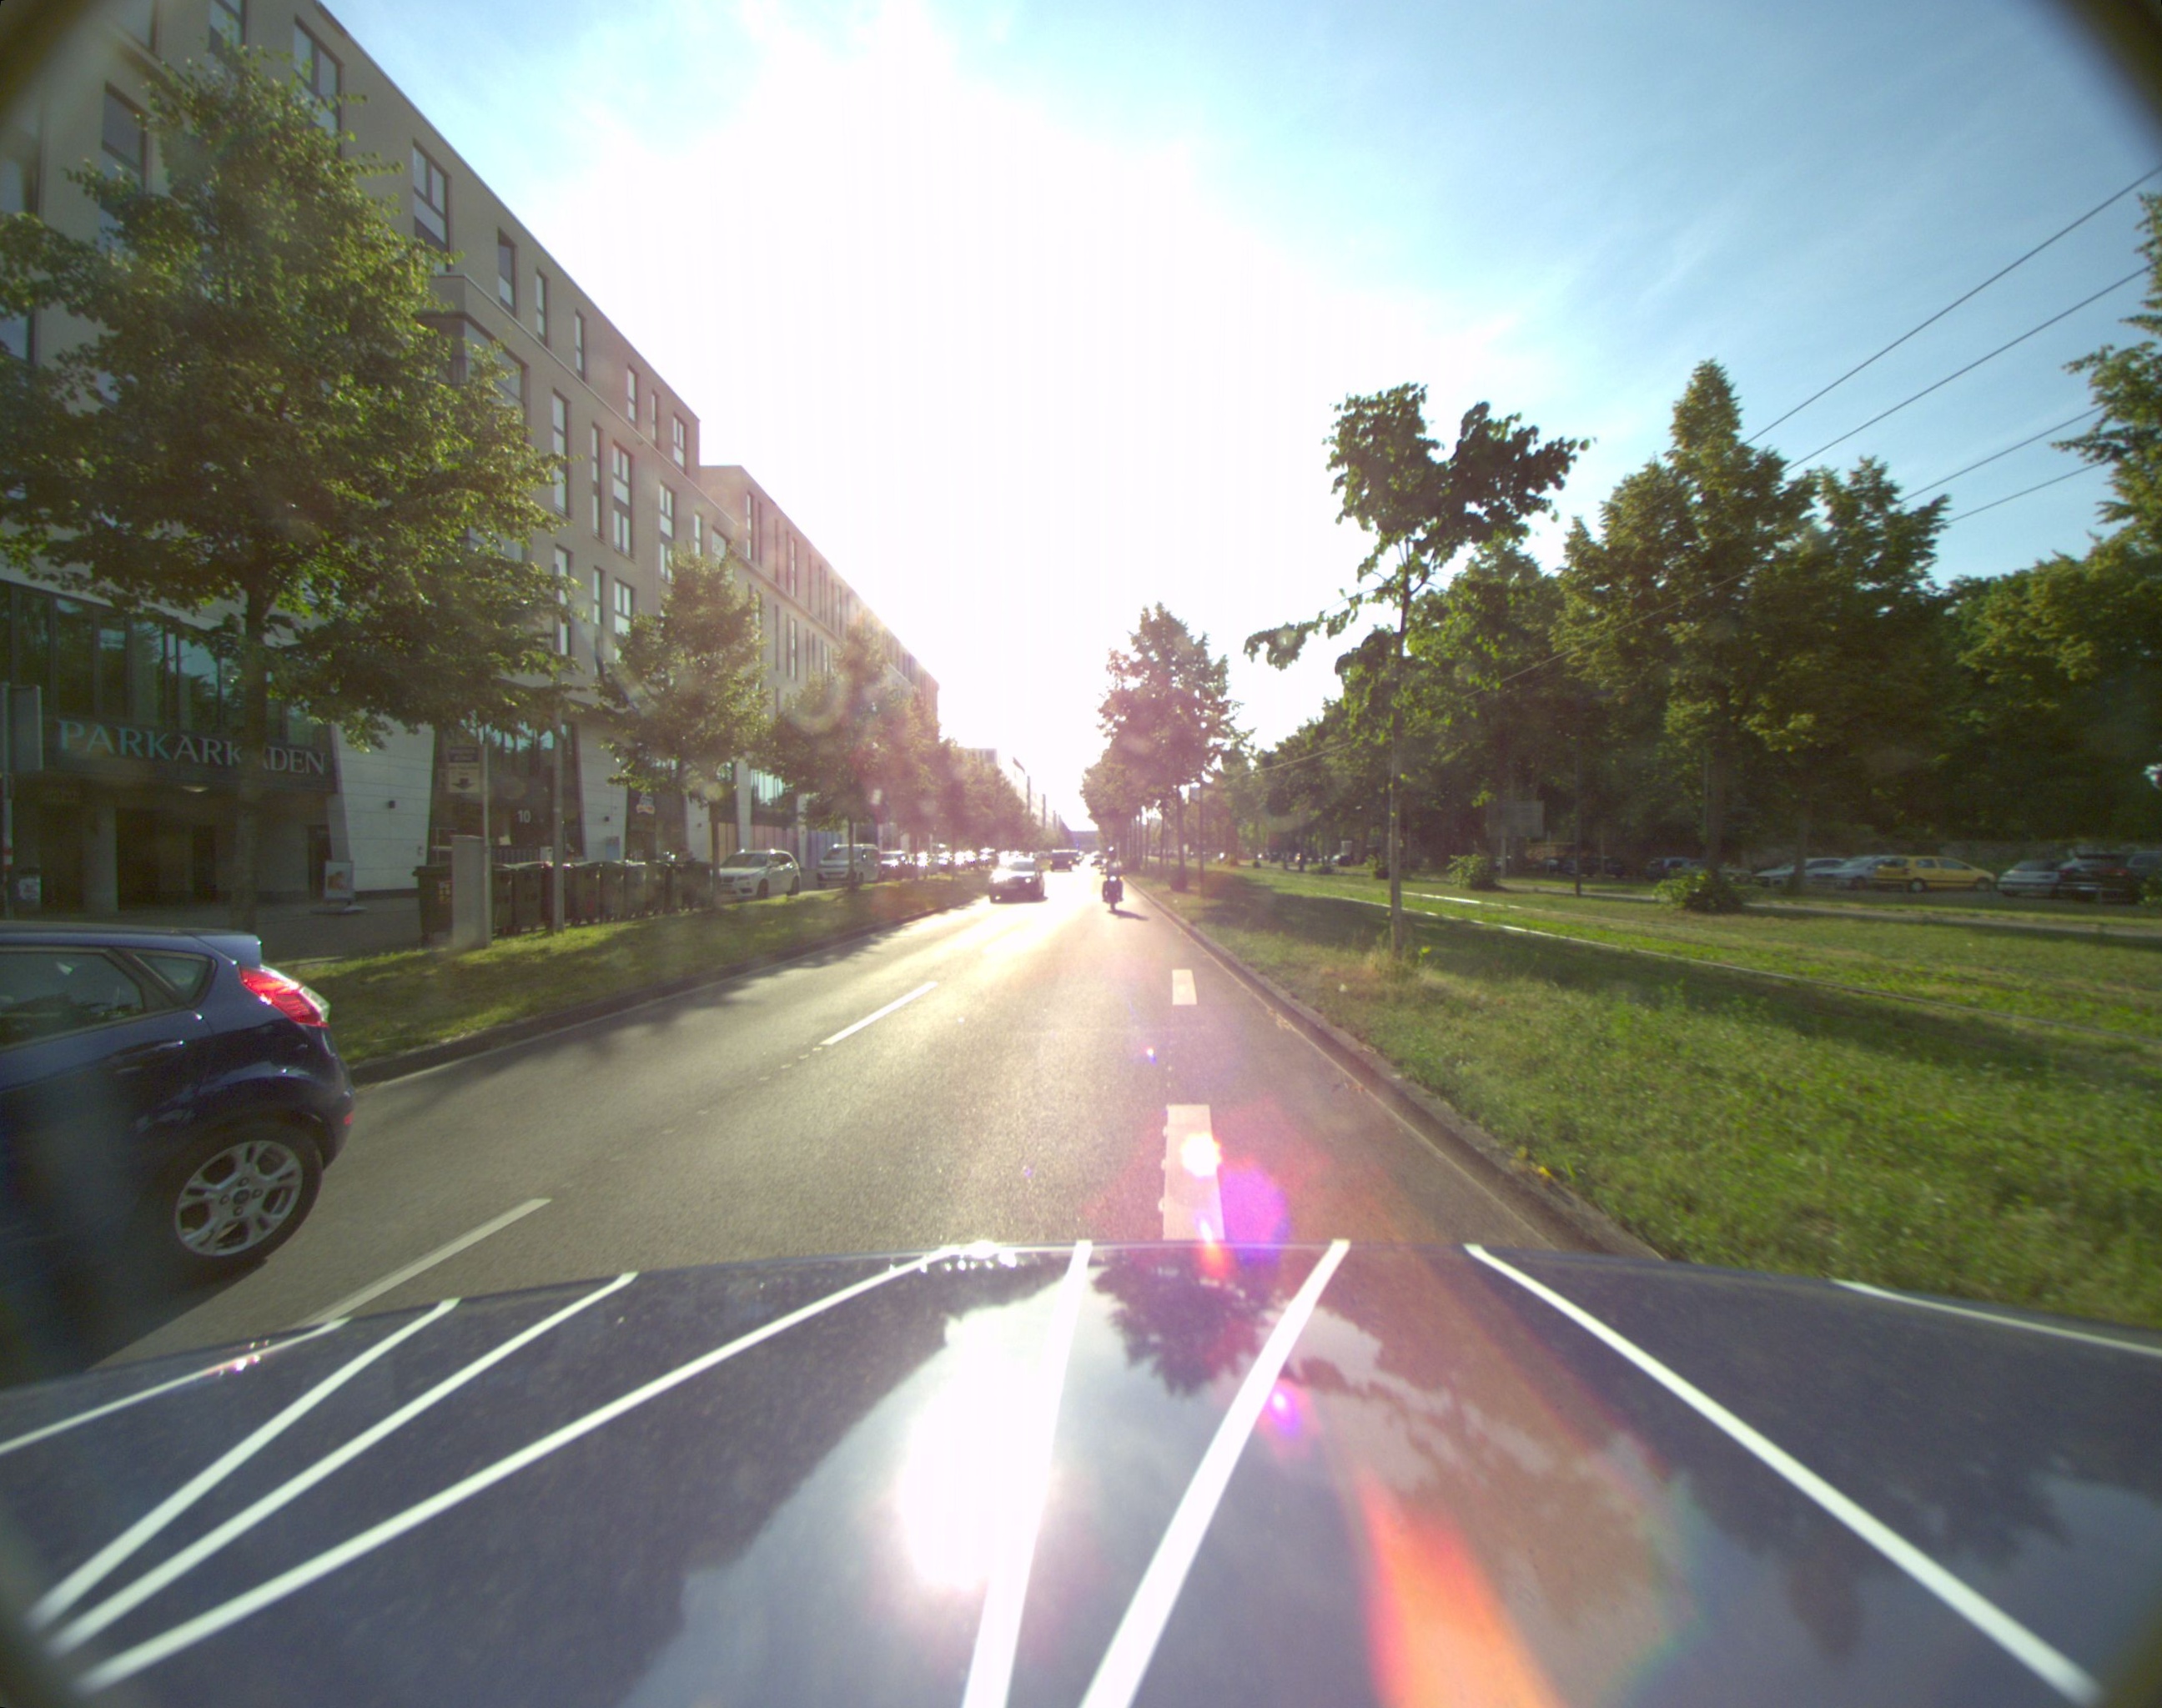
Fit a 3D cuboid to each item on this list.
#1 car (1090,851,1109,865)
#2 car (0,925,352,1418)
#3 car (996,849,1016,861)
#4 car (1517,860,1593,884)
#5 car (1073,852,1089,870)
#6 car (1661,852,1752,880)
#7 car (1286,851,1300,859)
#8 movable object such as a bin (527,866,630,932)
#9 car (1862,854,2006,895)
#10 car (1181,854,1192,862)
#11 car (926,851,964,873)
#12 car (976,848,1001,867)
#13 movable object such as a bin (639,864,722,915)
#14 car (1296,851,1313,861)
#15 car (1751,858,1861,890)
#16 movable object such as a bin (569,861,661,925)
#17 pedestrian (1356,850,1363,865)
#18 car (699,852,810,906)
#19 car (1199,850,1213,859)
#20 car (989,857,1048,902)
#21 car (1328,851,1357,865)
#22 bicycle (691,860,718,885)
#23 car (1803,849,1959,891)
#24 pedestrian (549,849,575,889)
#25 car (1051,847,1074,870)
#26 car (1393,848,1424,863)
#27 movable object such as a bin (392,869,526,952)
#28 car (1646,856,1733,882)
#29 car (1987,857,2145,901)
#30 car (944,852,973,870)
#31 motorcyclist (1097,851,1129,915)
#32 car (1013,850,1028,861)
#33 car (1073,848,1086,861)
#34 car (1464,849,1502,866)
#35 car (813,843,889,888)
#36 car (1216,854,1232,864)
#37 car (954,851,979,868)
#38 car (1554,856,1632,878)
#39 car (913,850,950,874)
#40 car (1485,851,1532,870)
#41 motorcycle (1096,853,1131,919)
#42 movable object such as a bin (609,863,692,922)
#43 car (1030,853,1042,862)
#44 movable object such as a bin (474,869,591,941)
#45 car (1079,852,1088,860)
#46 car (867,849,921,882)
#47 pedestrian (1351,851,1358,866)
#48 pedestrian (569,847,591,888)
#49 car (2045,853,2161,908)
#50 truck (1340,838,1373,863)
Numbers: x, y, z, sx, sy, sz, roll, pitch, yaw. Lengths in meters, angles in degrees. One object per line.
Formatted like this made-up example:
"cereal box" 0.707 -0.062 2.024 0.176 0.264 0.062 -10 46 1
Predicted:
"car" 1.961 0.412 82.692 1.756 1.427 4.034 -2 1 -2
"car" -4.233 1.083 1.496 1.563 1.416 3.908 -2 1 5
"car" -9.718 0.110 98.747 1.764 1.479 4.920 -2 1 4
"car" 31.060 1.158 49.897 1.689 1.427 4.028 -2 1 -19
"car" 0.025 0.840 93.077 1.909 2.002 4.000 -2 1 1
"car" 37.373 0.725 45.505 3.865 1.477 1.744 -2 1 9
"car" 32.663 0.098 117.200 1.301 1.101 3.772 -2 1 4
"movable object such as a bin" -10.309 0.894 15.644 1.280 1.229 1.191 -2 1 -2
"car" 36.924 0.859 32.977 3.996 1.551 1.856 -2 1 3
"car" 20.950 0.793 150.695 1.614 1.523 4.132 -2 1 1
"car" -10.164 0.572 57.166 1.732 1.424 4.722 -2 1 2
"car" -9.921 0.365 81.667 1.899 1.863 4.844 -2 1 1
"movable object such as a bin" -10.515 0.911 19.973 1.399 1.229 1.338 -1 1 28
"car" 31.346 0.264 106.588 1.586 1.269 3.961 -2 1 8
"car" 36.234 0.968 38.056 3.655 1.420 1.809 -2 1 3
"movable object such as a bin" -10.435 0.846 17.082 1.280 1.310 1.191 -2 1 -2
"pedestrian" 26.701 0.336 72.777 0.387 1.467 0.602 -2 1 1
"car" -10.807 0.755 25.541 1.735 1.620 4.849 0 0 -1
"car" 19.532 0.038 118.684 1.587 1.385 3.696 -2 1 1
"car" -2.232 0.898 28.111 1.698 1.416 4.039 -2 1 2
"car" 29.055 0.383 84.546 1.834 1.423 4.474 -2 1 2
"bicycle" -17.639 0.870 35.620 0.345 1.075 1.732 3 1 2
"car" 37.072 0.724 35.325 5.071 1.725 1.886 -2 1 3
"pedestrian" -20.230 0.573 29.626 0.515 1.513 0.597 -2 1 1
"car" -1.623 0.382 68.690 1.803 1.881 4.820 -2 1 1
"car" 38.313 0.178 88.898 1.834 1.603 4.474 -2 1 2
"movable object such as a bin" -10.660 0.943 13.095 1.280 1.284 1.178 -2 1 -2
"car" 37.901 0.914 47.423 3.865 1.477 1.744 -2 1 9
"car" 36.682 0.908 28.375 3.576 1.417 1.726 -2 1 2
"car" -10.394 0.560 64.607 1.732 1.424 4.113 -2 1 0
"motorcyclist" 0.883 0.795 21.087 0.814 1.700 0.843 -2 1 0
"car" -9.166 0.248 115.583 1.840 1.521 4.327 -2 1 1
"car" -0.262 0.076 121.139 1.998 2.002 3.999 -2 1 1
"car" 37.480 0.323 70.928 1.722 1.434 3.912 -2 1 3
"car" -10.614 0.473 35.445 1.842 1.865 5.031 -2 1 1
"car" 22.476 0.802 119.850 1.686 1.467 4.812 2 1 1
"car" -10.559 0.479 70.223 1.873 1.483 4.413 -2 1 -3
"car" 36.809 0.904 54.750 1.794 1.434 4.353 -2 1 -22
"car" -9.475 0.485 48.422 1.620 1.404 4.166 -2 1 -1
"car" 36.636 0.504 65.194 1.790 1.434 4.361 -2 1 3
"motorcycle" 0.869 0.829 21.008 0.798 1.659 2.634 -2 1 0
"movable object such as a bin" -10.416 0.908 18.431 1.280 1.294 1.191 -2 1 -2
"car" -8.544 0.683 143.621 1.840 1.521 4.327 -2 1 1
"movable object such as a bin" -10.297 0.933 14.325 1.280 1.229 1.191 -2 1 -2
"car" 0.525 0.323 160.258 1.840 1.521 4.327 -2 1 1
"car" -10.357 0.612 42.302 1.732 1.641 4.339 -2 1 2
"pedestrian" 26.202 0.442 72.854 0.387 1.467 0.602 -2 1 1
"pedestrian" -19.614 0.531 29.755 0.515 1.565 0.539 -2 1 -18
"car" 35.904 0.866 25.808 4.002 1.633 1.757 -2 1 2
"truck" 42.098 -0.570 116.395 2.894 3.496 7.946 -2 1 6
